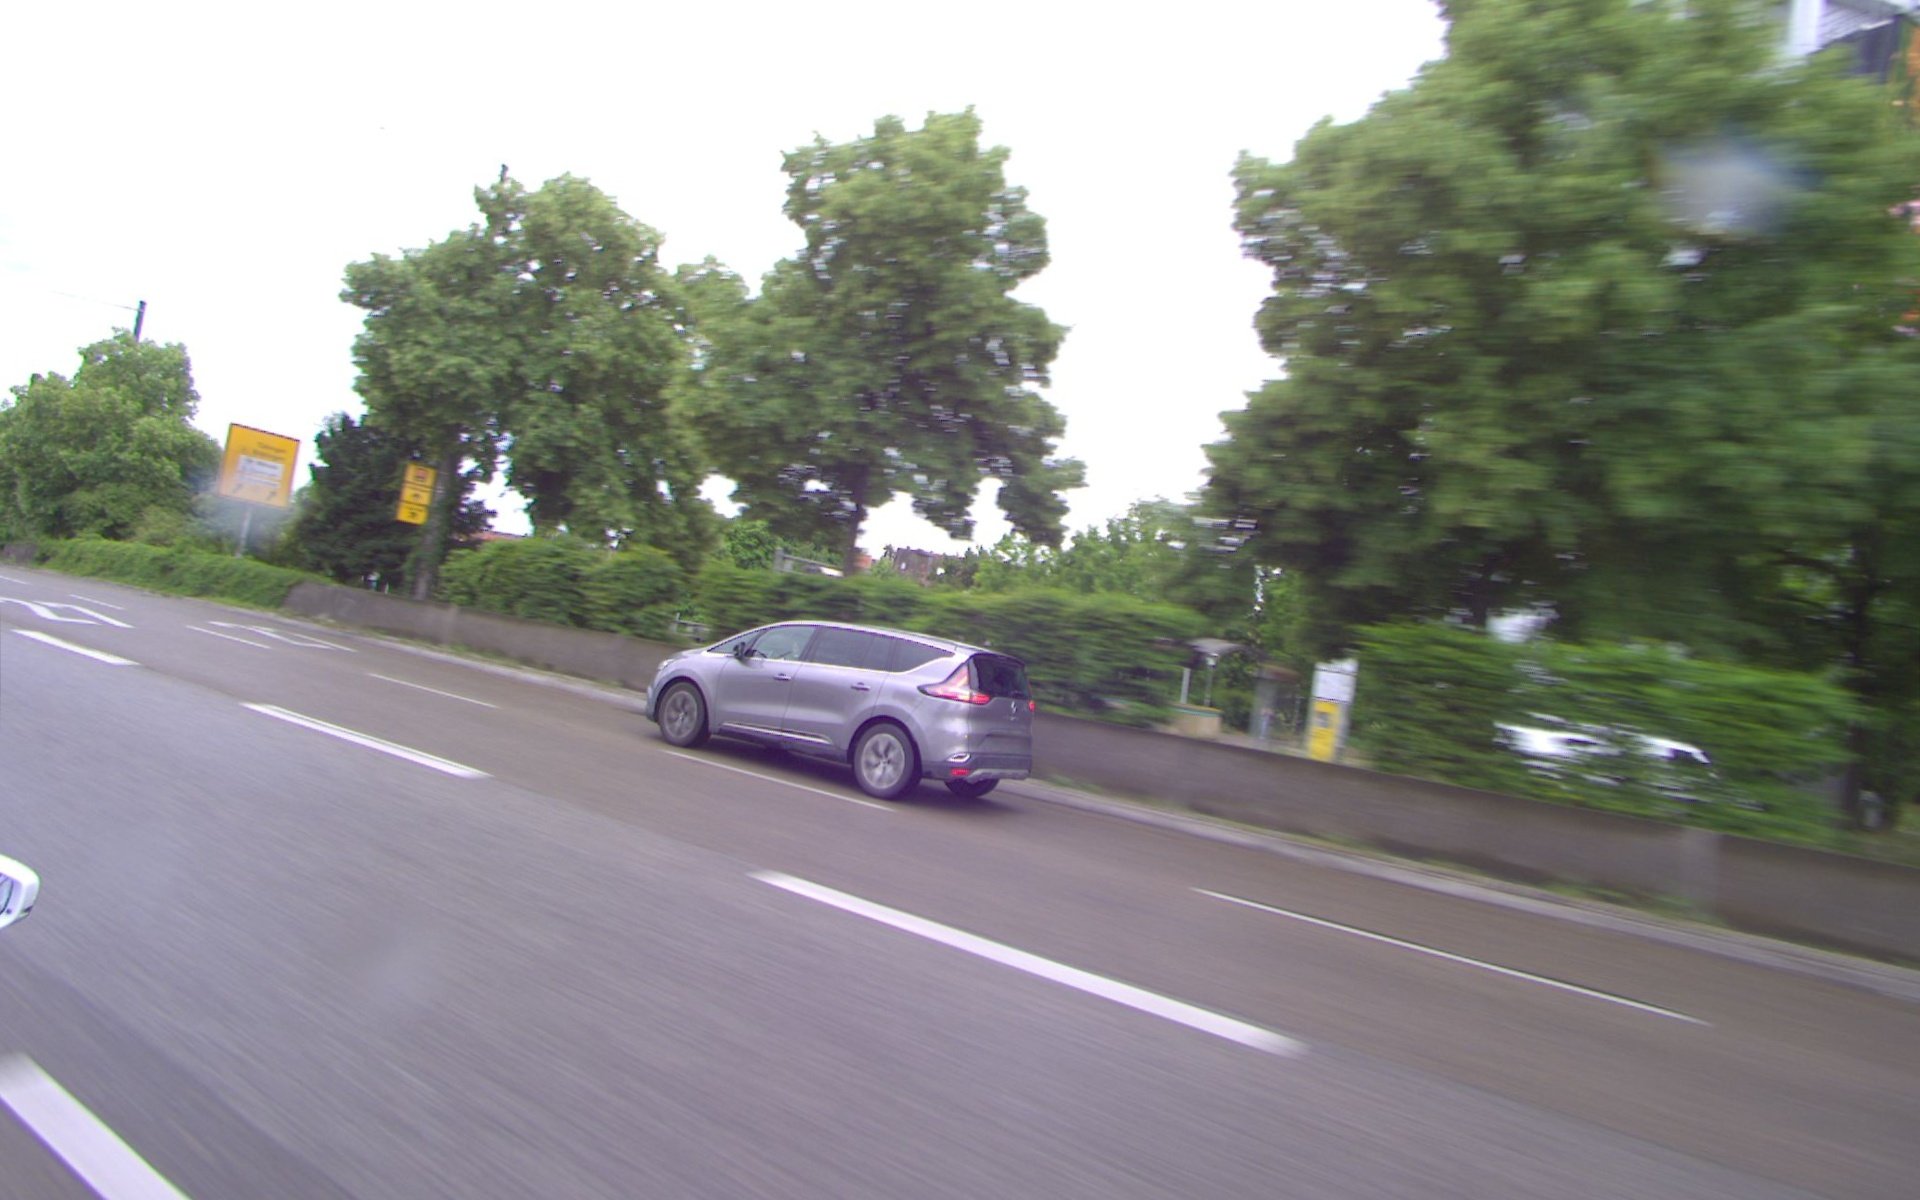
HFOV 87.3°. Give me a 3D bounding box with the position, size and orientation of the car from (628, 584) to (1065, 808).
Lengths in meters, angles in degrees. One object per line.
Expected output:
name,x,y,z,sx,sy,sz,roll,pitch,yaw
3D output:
car,-1.356,0.988,11.150,4.549,1.665,1.731,7,-5,33
